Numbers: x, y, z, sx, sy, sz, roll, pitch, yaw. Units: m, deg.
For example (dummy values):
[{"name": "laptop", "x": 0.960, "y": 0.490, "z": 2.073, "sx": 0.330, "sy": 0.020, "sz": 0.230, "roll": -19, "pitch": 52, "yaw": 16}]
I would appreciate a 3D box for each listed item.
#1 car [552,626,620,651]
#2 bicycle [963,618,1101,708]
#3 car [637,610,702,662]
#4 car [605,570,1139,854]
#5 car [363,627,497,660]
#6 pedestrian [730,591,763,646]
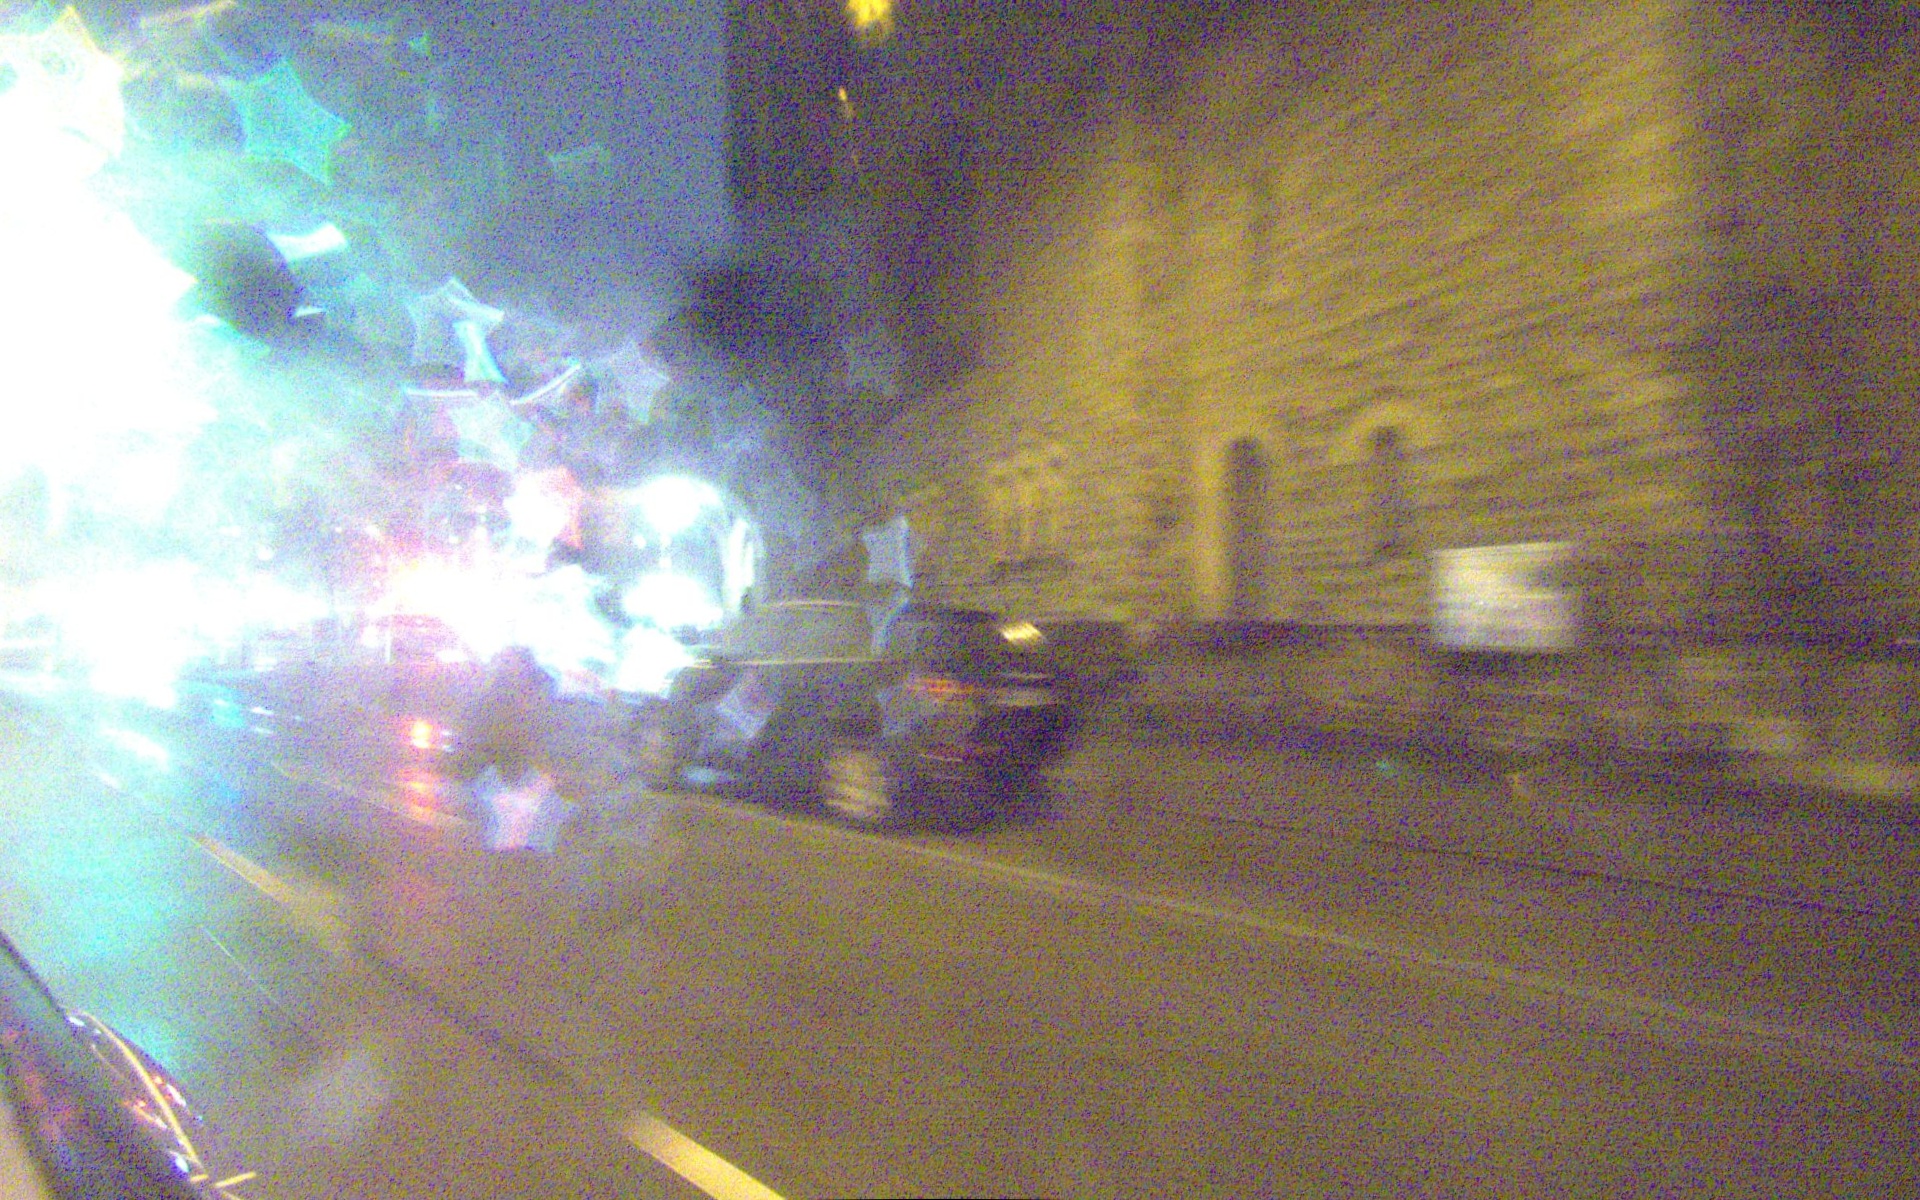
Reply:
[{"name": "car", "x": -24.873, "y": 2.555, "z": 67.302, "sx": 4.147, "sy": 1.578, "sz": 1.856, "roll": 0, "pitch": -2, "yaw": -23}, {"name": "bicycle", "x": 1.022, "y": 0.848, "z": 14.071, "sx": 1.937, "sy": 1.189, "sz": 0.543, "roll": 1, "pitch": -2, "yaw": -30}, {"name": "car", "x": -10.518, "y": 1.323, "z": 36.503, "sx": 1.671, "sy": 1.741, "sz": 4.013, "roll": 2, "pitch": -3, "yaw": -24}, {"name": "car", "x": -0.933, "y": 0.715, "z": 8.172, "sx": 4.410, "sy": 1.683, "sz": 1.792, "roll": -2, "pitch": -1, "yaw": 42}, {"name": "car", "x": -23.664, "y": 1.924, "z": 45.367, "sx": 4.983, "sy": 1.436, "sz": 2.005, "roll": 0, "pitch": -1, "yaw": -14}, {"name": "pedestrian", "x": -6.662, "y": 0.583, "z": 31.584, "sx": 0.785, "sy": 1.688, "sz": 0.626, "roll": -1, "pitch": -1, "yaw": 15}]
